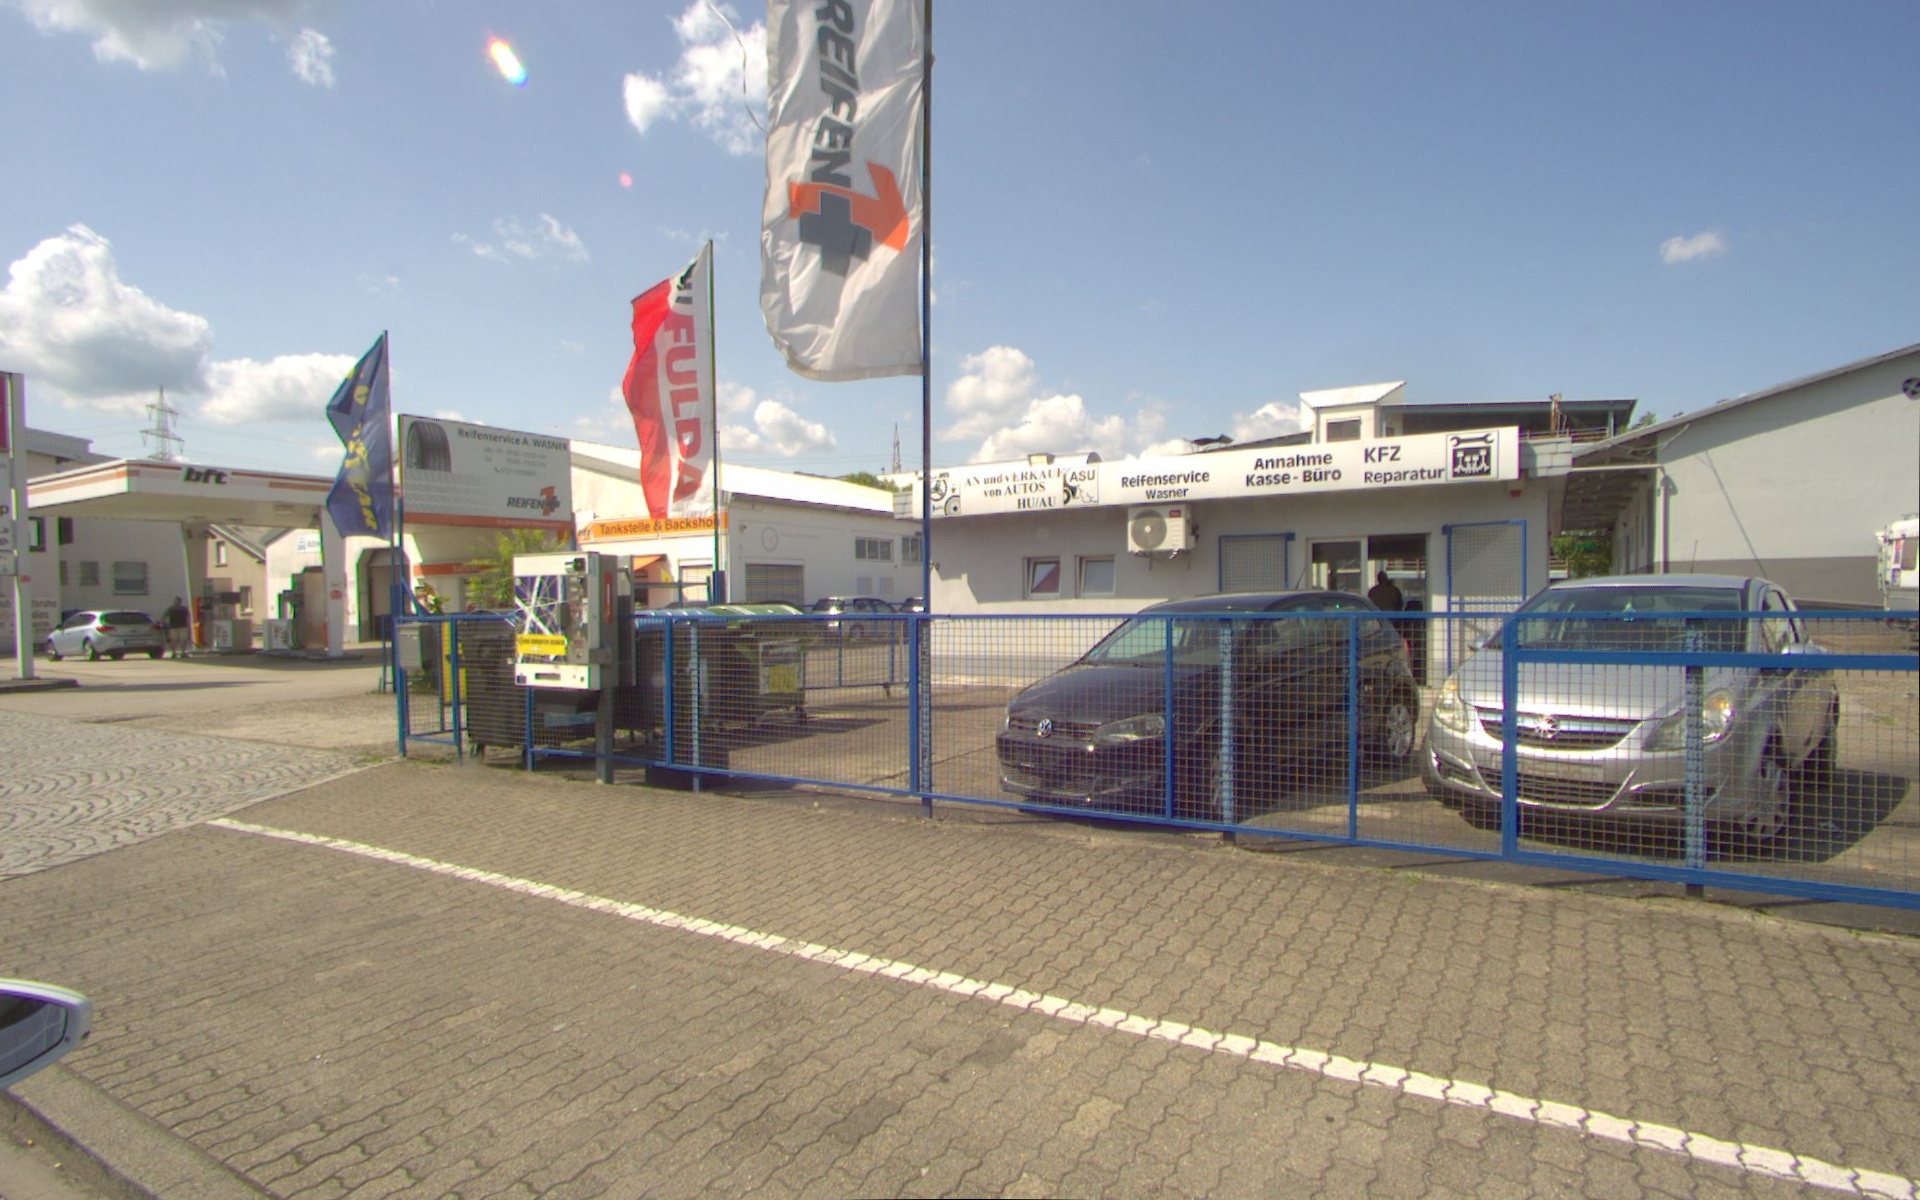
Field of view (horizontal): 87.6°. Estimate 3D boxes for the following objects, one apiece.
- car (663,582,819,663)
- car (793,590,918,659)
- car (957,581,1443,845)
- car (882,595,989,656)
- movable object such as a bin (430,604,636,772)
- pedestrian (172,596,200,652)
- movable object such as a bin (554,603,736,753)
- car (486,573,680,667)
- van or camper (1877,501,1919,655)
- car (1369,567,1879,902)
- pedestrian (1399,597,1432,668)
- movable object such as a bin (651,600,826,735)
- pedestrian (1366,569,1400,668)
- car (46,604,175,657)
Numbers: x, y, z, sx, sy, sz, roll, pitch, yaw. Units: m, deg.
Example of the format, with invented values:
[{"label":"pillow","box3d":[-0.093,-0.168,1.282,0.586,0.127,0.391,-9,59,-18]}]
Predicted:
[{"label":"car","box3d":[-5.953,0.570,27.639,1.971,2.040,3.979,0,0,32]},{"label":"car","box3d":[-3.270,0.727,31.990,1.971,2.040,3.979,0,0,32]},{"label":"car","box3d":[2.008,0.627,7.651,3.962,1.499,1.705,-1,1,-43]},{"label":"car","box3d":[-0.809,0.862,35.879,1.971,2.040,3.979,0,0,32]},{"label":"movable object such as a bin","box3d":[-4.139,0.784,9.748,1.434,1.473,1.224,0,1,31]},{"label":"pedestrian","box3d":[-23.745,0.729,30.719,0.628,1.705,0.618,-1,1,-36]},{"label":"movable object such as a bin","box3d":[-3.378,0.775,10.788,1.434,1.473,1.224,0,1,31]},{"label":"car","box3d":[-8.919,0.435,23.985,1.971,2.040,3.979,0,0,32]},{"label":"van or camper","box3d":[21.341,-0.459,19.322,4.983,3.002,2.276,0,1,31]},{"label":"car","box3d":[4.495,0.587,6.514,4.104,1.499,1.787,-1,0,-42]},{"label":"pedestrian","box3d":[7.973,0.561,17.527,0.480,1.229,0.499,0,1,30]},{"label":"movable object such as a bin","box3d":[-2.612,0.743,11.902,1.433,1.473,1.427,0,1,31]},{"label":"pedestrian","box3d":[7.427,0.324,17.576,0.480,1.710,0.499,0,1,30]},{"label":"car","box3d":[-25.839,0.889,30.438,3.950,1.499,1.829,-1,1,31]}]
